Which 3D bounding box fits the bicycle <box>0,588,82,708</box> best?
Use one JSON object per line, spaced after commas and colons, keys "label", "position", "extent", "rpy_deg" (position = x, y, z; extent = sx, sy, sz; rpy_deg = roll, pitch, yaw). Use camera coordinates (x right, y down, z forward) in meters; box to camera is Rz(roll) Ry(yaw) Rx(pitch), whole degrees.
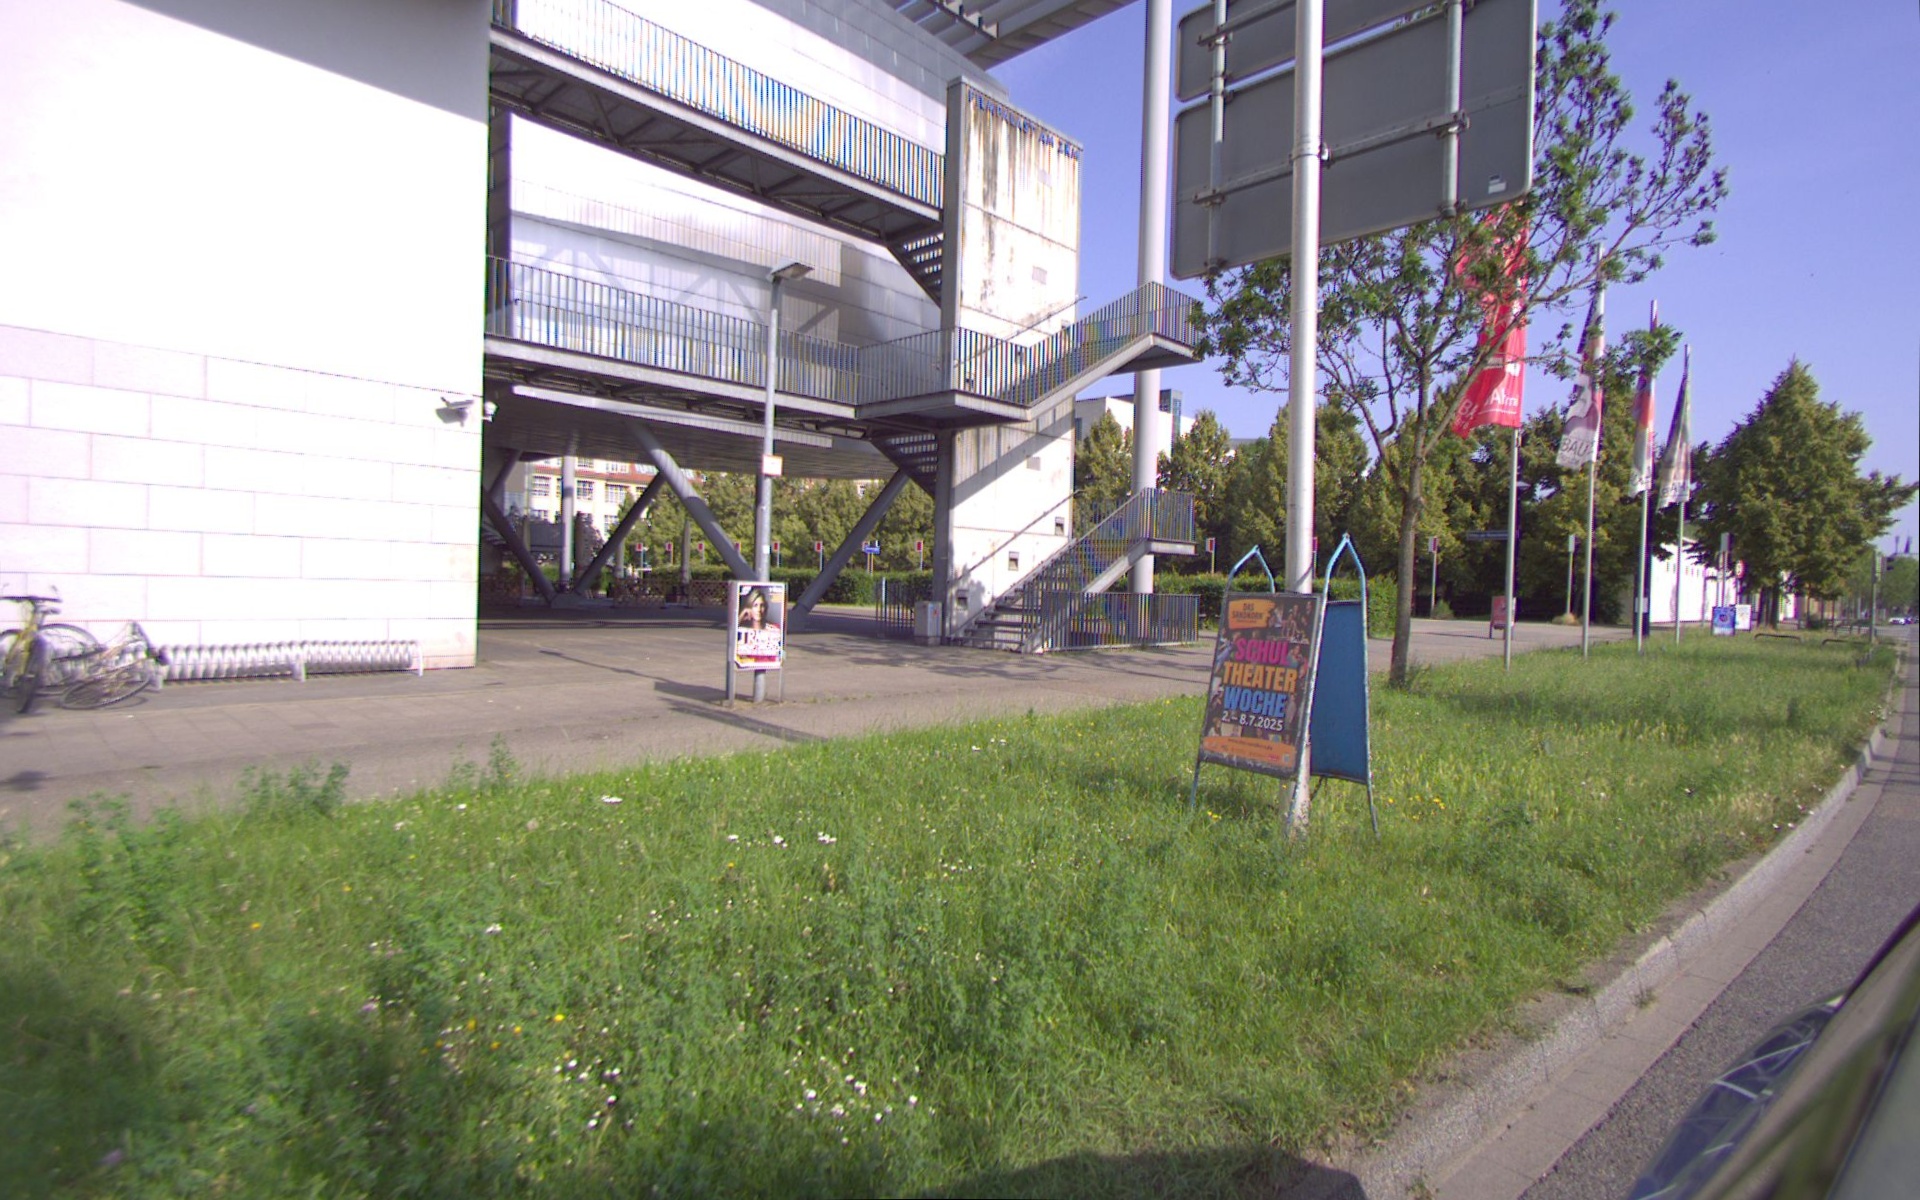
{"label": "bicycle", "position": [-8.121, 0.379, 8.908], "extent": [0.475, 0.926, 1.658], "rpy_deg": [1, 1, -45]}

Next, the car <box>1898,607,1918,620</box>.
{"label": "car", "position": [132.314, 1.893, 141.221], "extent": [1.994, 1.683, 3.936], "rpy_deg": [2, 1, 44]}

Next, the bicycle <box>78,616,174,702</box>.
{"label": "bicycle", "position": [-7.728, 0.508, 9.354], "extent": [0.529, 0.653, 1.658], "rpy_deg": [1, 1, -45]}
